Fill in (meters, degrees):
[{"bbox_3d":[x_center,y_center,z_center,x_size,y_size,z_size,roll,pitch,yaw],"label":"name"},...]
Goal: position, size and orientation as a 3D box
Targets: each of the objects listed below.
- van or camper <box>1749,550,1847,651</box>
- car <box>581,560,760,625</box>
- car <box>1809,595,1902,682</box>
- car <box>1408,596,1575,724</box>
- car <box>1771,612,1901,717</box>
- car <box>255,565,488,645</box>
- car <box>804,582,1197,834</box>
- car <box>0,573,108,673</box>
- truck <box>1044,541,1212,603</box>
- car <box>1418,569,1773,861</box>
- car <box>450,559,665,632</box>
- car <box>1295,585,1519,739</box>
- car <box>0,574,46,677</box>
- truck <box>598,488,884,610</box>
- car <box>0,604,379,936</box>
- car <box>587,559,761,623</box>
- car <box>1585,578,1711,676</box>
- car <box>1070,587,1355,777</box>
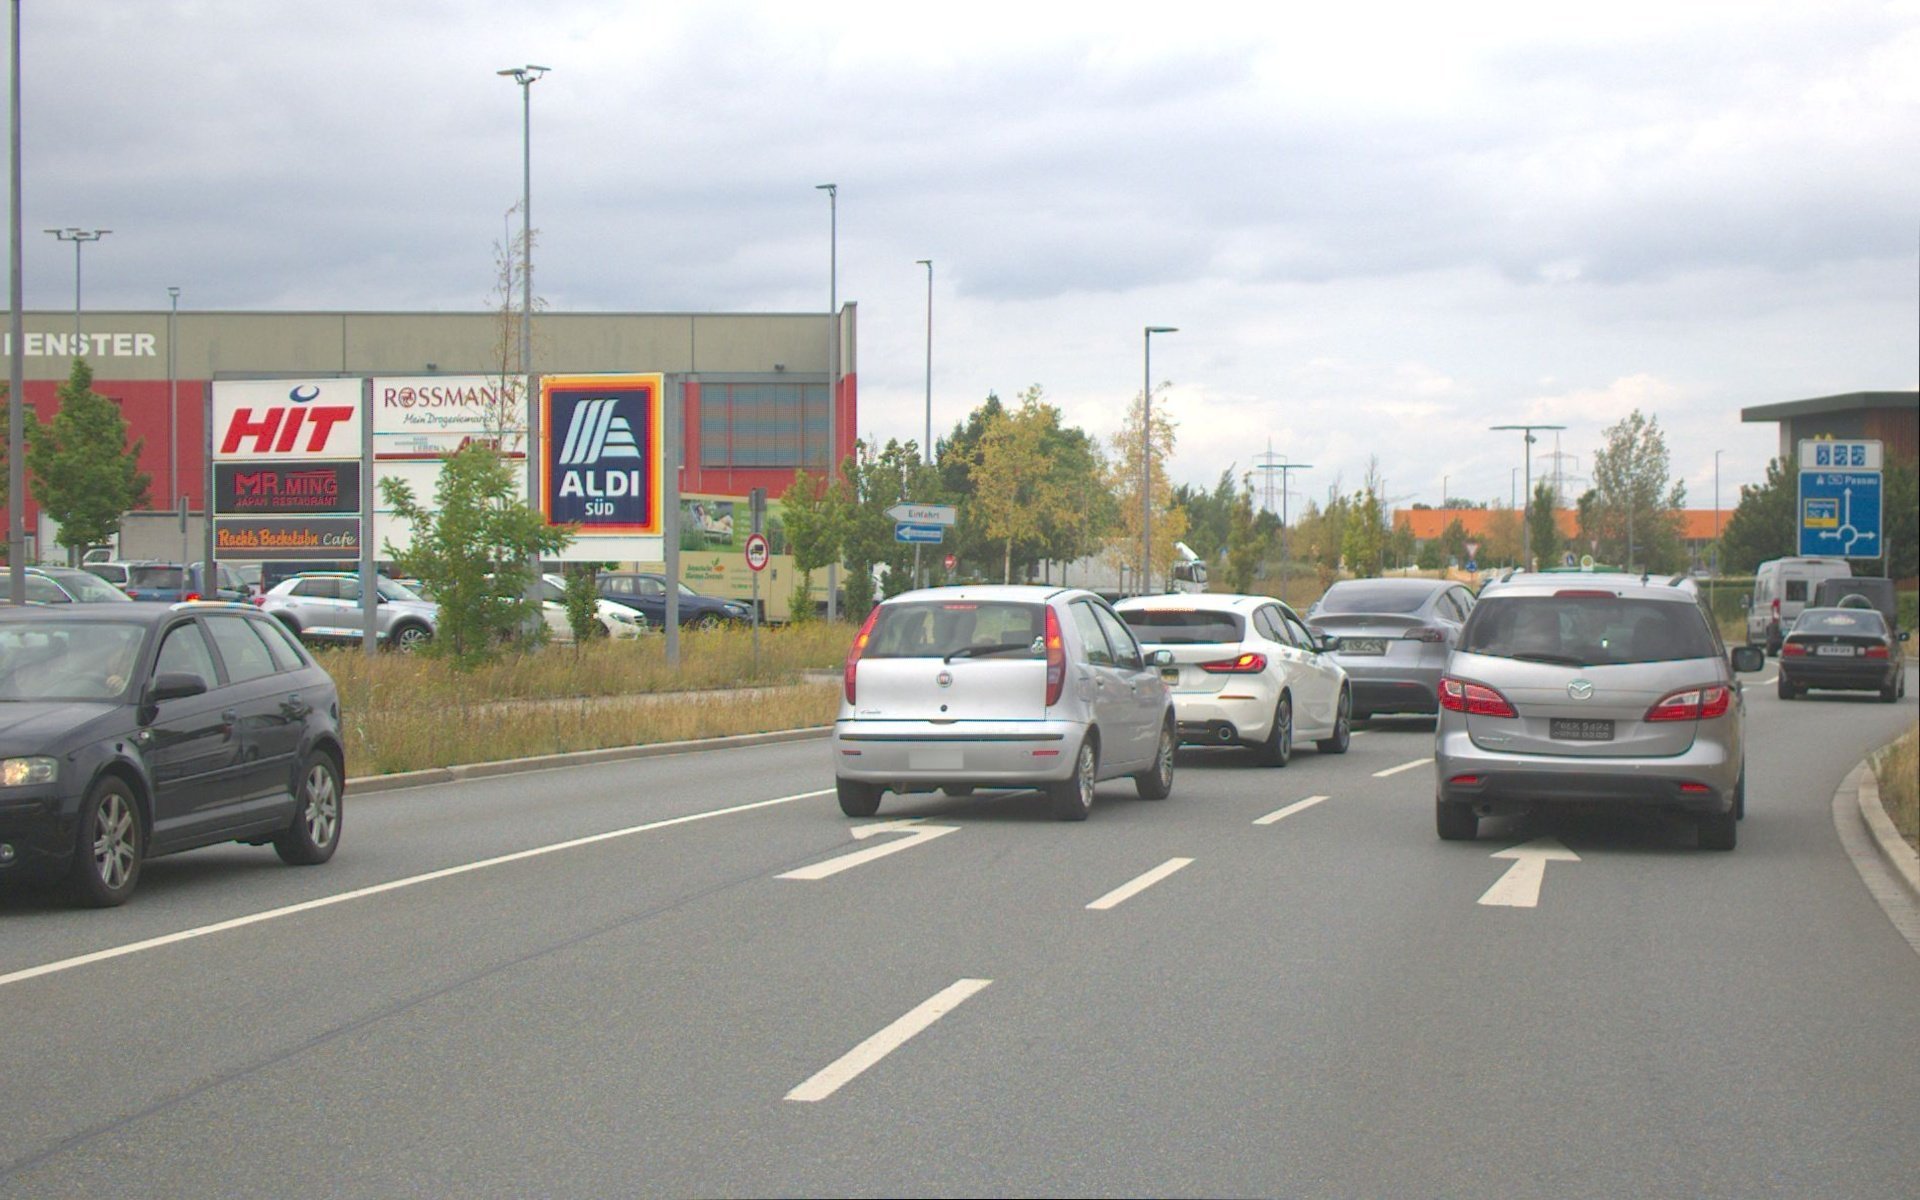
[{"bbox_3d":[21.759,0.012,89.125,2.191,2.533,6.161,0,0,16],"label":"van or camper"},{"bbox_3d":[-6.348,-0.177,75.770,3.830,1.423,1.742,0,1,-1],"label":"car"},{"bbox_3d":[20.370,0.845,78.131,1.995,1.917,4.844,0,0,15],"label":"car"},{"bbox_3d":[7.091,0.750,45.590,1.904,1.563,4.333,0,1,13],"label":"car"},{"bbox_3d":[12.783,0.909,50.328,1.754,1.382,4.299,0,1,13],"label":"car"},{"bbox_3d":[-10.783,0.083,63.092,3.832,1.423,1.741,-1,0,15],"label":"car"},{"bbox_3d":[0.361,0.639,22.670,1.796,1.456,3.814,0,1,13],"label":"car"},{"bbox_3d":[-14.576,0.314,49.979,3.803,1.385,1.913,0,1,10],"label":"car"},{"bbox_3d":[7.972,-1.330,163.046,7.692,2.906,2.355,0,1,14],"label":"truck"},{"bbox_3d":[4.053,0.615,21.392,1.816,1.558,4.398,1,1,15],"label":"car"},{"bbox_3d":[-8.278,-0.100,70.904,3.989,1.437,1.999,-1,0,11],"label":"car"},{"bbox_3d":[4.943,0.617,37.493,1.806,1.503,4.881,0,1,15],"label":"car"},{"bbox_3d":[-14.951,0.334,47.947,3.803,1.385,1.913,0,1,10],"label":"car"},{"bbox_3d":[-5.416,-1.289,86.817,2.676,2.935,8.167,1,1,35],"label":"truck"},{"bbox_3d":[-4.483,0.742,16.982,1.770,1.379,4.148,-1,0,12],"label":"car"},{"bbox_3d":[-6.452,-0.210,77.863,3.830,1.423,1.742,0,1,-1],"label":"car"},{"bbox_3d":[11.639,0.425,57.969,1.904,1.563,4.333,0,1,14],"label":"car"},{"bbox_3d":[2.251,0.646,29.612,1.796,1.445,4.246,0,1,13],"label":"car"}]
